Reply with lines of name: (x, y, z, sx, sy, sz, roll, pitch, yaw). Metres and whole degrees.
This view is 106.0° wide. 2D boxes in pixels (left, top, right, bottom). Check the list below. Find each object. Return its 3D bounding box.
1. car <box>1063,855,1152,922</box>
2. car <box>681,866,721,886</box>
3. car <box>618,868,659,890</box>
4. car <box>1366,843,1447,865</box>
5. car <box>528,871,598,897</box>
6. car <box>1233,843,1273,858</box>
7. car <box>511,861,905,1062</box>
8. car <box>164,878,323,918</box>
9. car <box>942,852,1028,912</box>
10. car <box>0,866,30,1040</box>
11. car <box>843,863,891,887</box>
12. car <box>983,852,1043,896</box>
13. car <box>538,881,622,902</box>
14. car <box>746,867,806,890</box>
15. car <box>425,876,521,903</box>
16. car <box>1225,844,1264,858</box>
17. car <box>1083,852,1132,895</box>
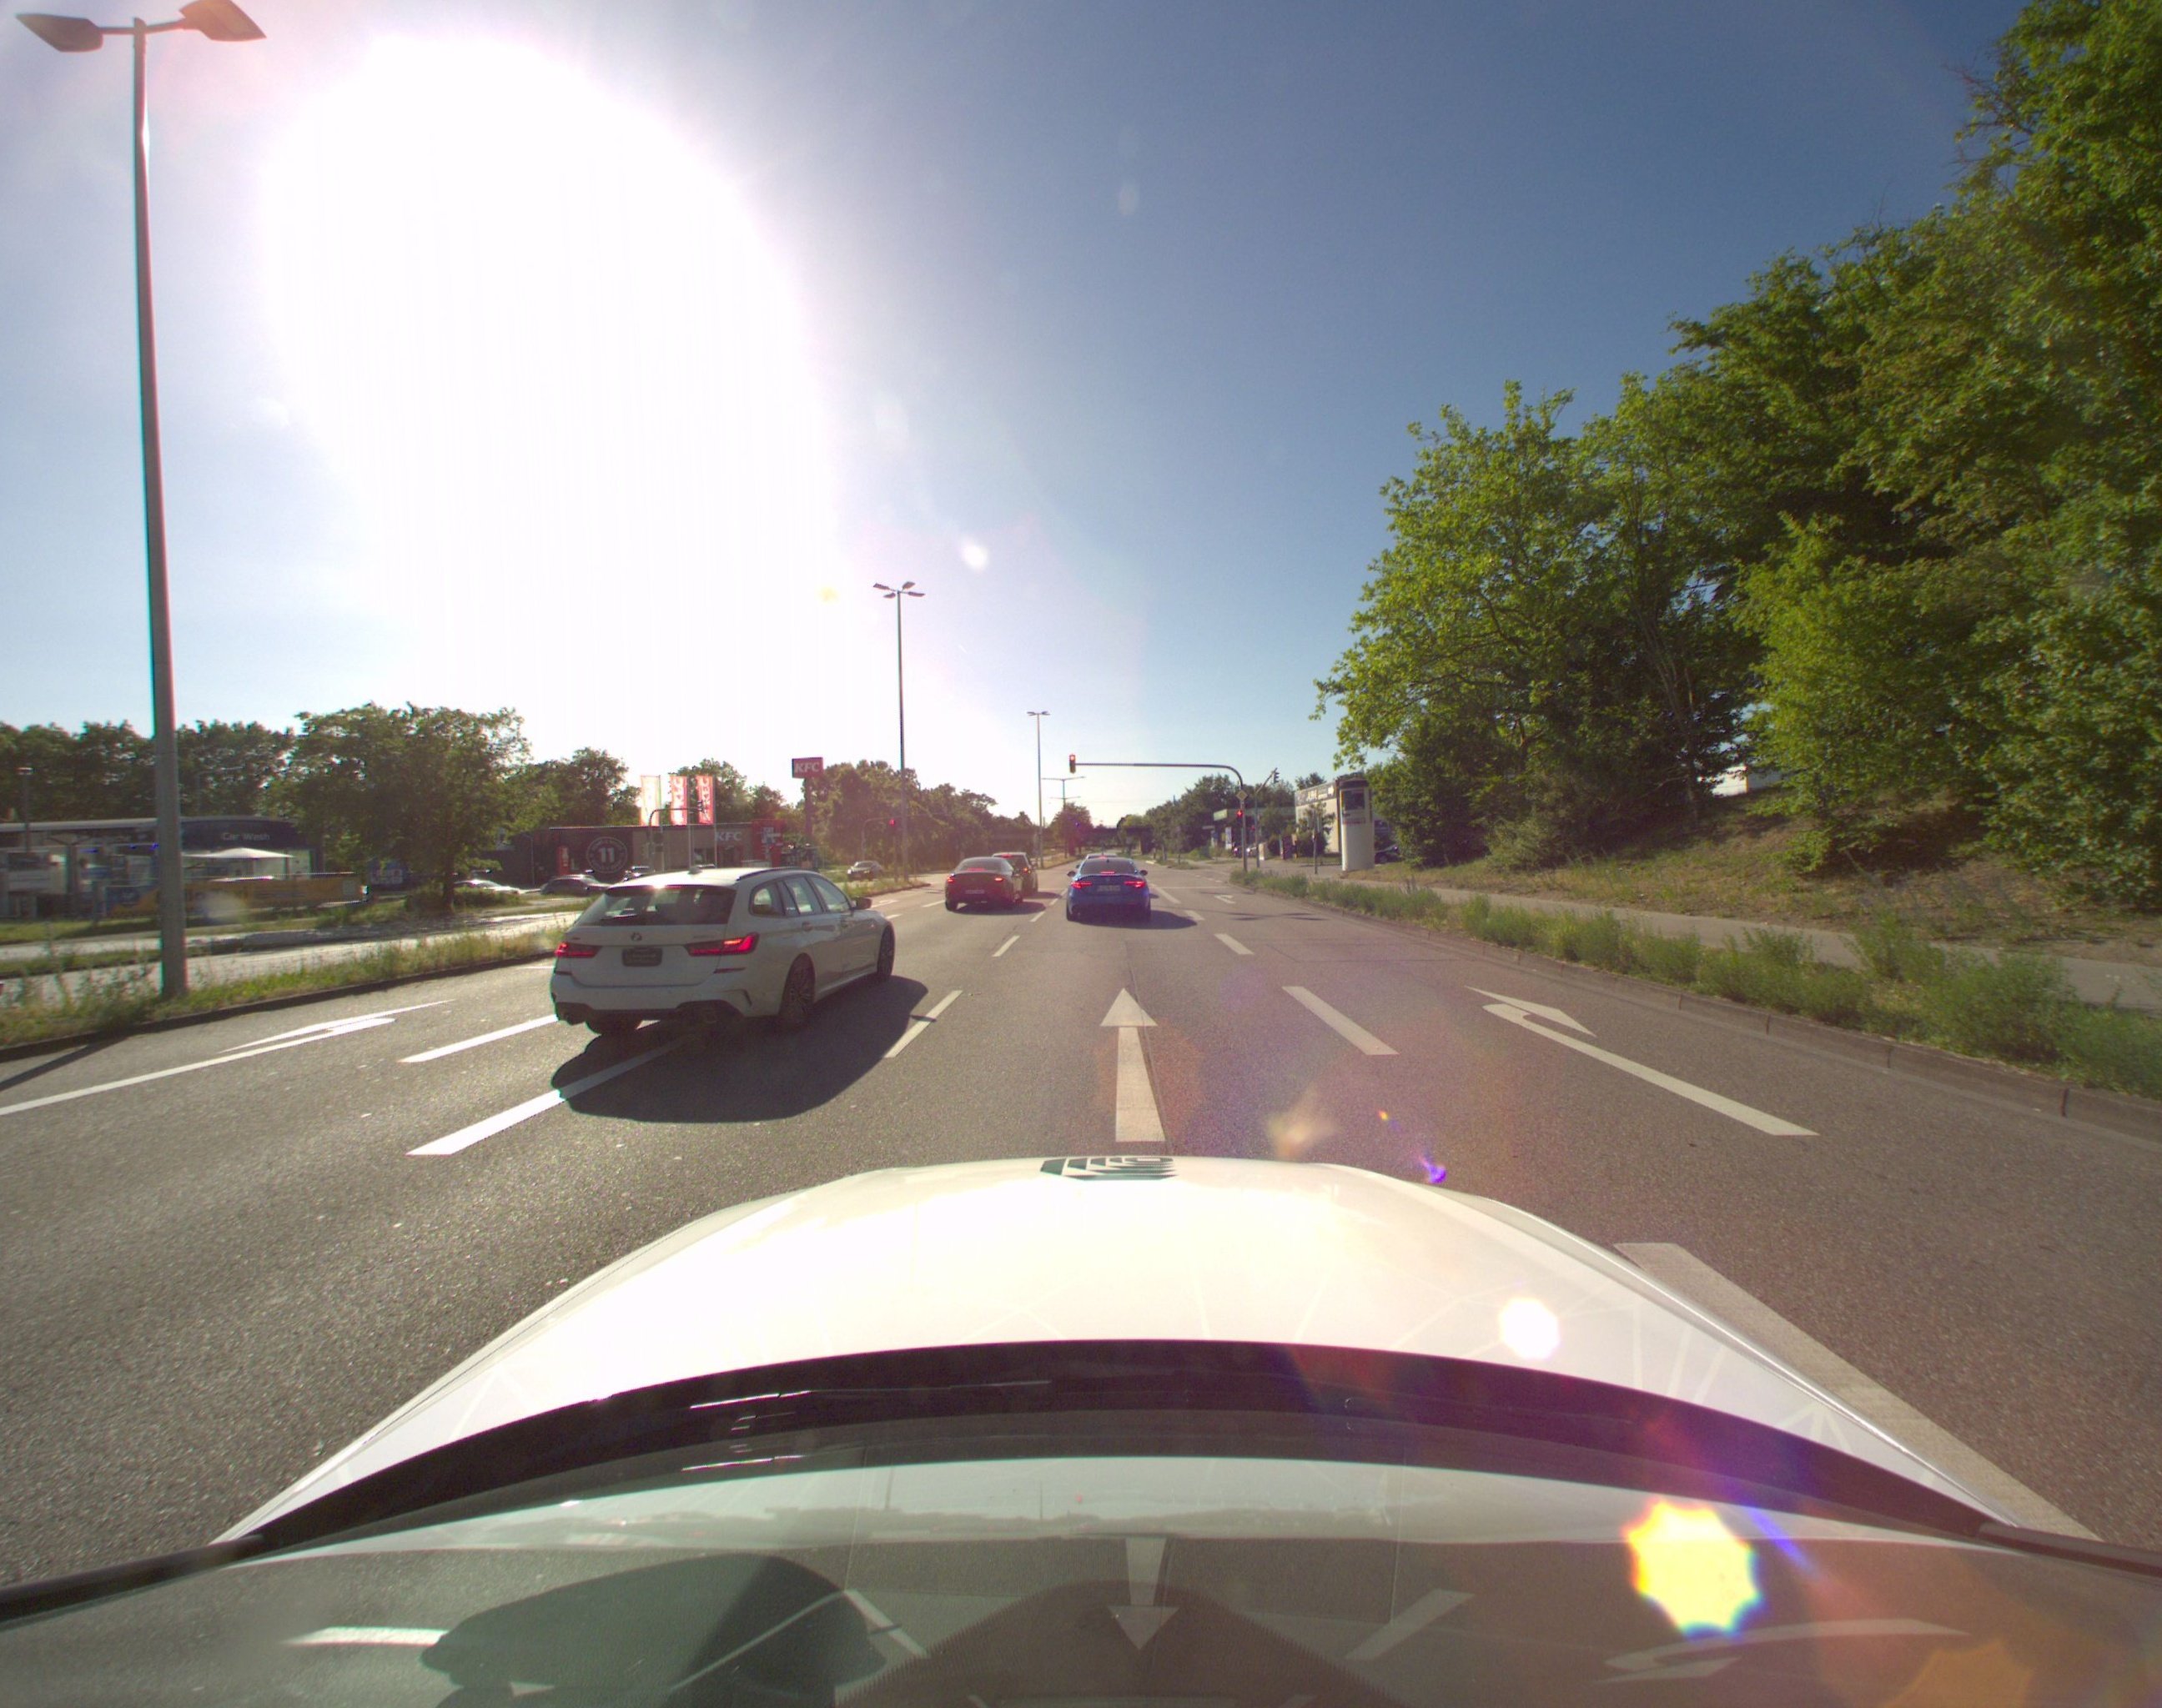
car: (0.688, 0.751, 19.202, 1.901, 1.423, 3.722, -1, -1, 4)
car: (-33.188, 1.902, 71.170, 1.946, 1.740, 4.046, 0, -1, -44)
car: (-36.778, 2.066, 67.610, 1.946, 1.740, 4.046, 0, -1, -44)
car: (21.870, 0.012, 54.840, 4.803, 1.468, 1.758, -1, -1, 0)
car: (-37.503, 2.169, 58.997, 3.747, 1.813, 2.000, -1, -1, 1)
car: (18.401, -0.389, 87.367, 3.970, 1.552, 2.001, -1, -1, 3)
car: (-3.285, 0.825, 8.381, 1.805, 1.486, 4.598, -1, -1, 2)
car: (-33.733, 1.732, 32.975, 1.981, 1.442, 4.012, -1, -1, 11)
car: (-2.667, 0.740, 23.669, 1.805, 1.551, 4.544, -1, 0, 1)
car: (-12.404, 1.047, 6.772, 1.671, 1.848, 4.296, -1, -1, 1)
car: (-16.836, 1.643, 64.380, 1.790, 1.726, 4.338, -1, 0, 14)
car: (-2.475, 0.716, 30.619, 1.806, 1.551, 4.353, -1, -1, 1)
car: (-31.549, 2.352, 51.343, 4.070, 1.252, 1.871, -1, -1, 0)
car: (-22.576, 1.801, 60.318, 3.786, 1.559, 1.979, 0, -1, -33)
car: (-38.653, 2.242, 51.858, 4.608, 1.579, 1.936, -1, -1, 0)
car: (19.250, -0.338, 95.908, 3.994, 1.552, 1.989, 0, -1, -16)
car: (1.047, 0.692, 30.308, 1.696, 1.497, 3.722, -1, -1, 4)
